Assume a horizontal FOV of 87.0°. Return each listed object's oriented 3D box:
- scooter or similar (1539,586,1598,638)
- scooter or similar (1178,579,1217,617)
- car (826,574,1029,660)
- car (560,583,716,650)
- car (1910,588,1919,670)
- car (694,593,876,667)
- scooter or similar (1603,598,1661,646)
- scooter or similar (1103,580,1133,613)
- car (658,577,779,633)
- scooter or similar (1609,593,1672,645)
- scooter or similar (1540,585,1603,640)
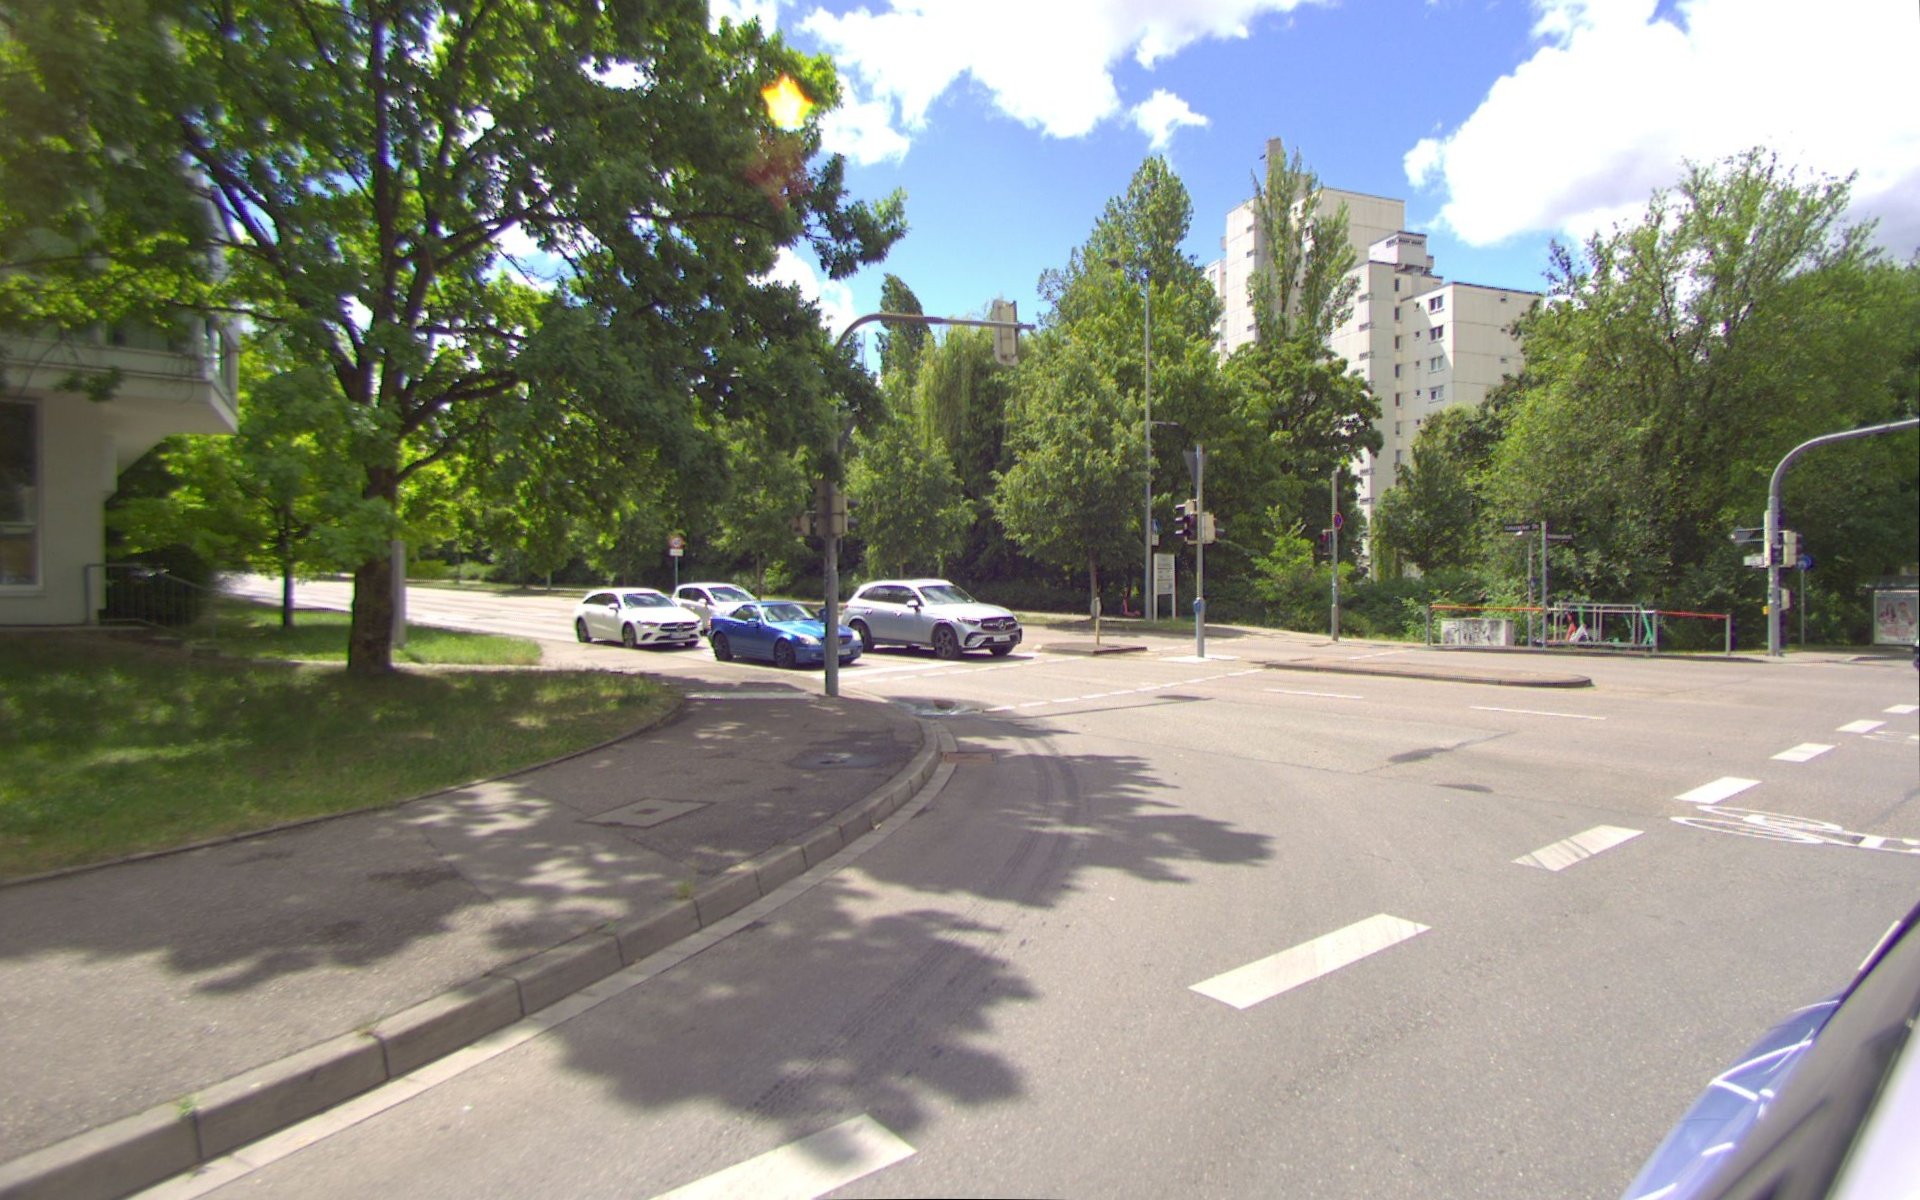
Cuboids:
[{"bbox_3d":[15.052,0.289,25.046,1.181,1.250,0.472,2,1,41],"label":"scooter or similar"},{"bbox_3d":[7.730,-0.079,32.937,0.513,1.197,1.176,1,1,-32],"label":"scooter or similar"},{"bbox_3d":[-0.816,0.273,22.345,1.892,1.611,4.646,-3,4,-44],"label":"car"},{"bbox_3d":[-8.220,0.342,25.648,4.391,1.432,1.921,2,4,44],"label":"car"},{"bbox_3d":[20.353,0.602,19.093,3.714,1.557,1.686,1,1,-12],"label":"car"},{"bbox_3d":[-3.733,0.554,21.178,1.882,1.240,3.963,-3,4,-44],"label":"car"},{"bbox_3d":[18.880,0.620,28.450,1.195,1.310,0.531,-2,-5,20],"label":"scooter or similar"},{"bbox_3d":[5.478,-0.130,35.105,0.402,1.087,1.116,1,1,-32],"label":"scooter or similar"},{"bbox_3d":[-7.061,0.101,29.362,3.887,1.429,1.584,2,4,44],"label":"car"},{"bbox_3d":[16.466,0.438,24.504,0.440,1.210,1.172,1,1,-32],"label":"scooter or similar"},{"bbox_3d":[14.529,0.284,24.069,1.198,1.250,0.475,2,0,26],"label":"scooter or similar"}]
